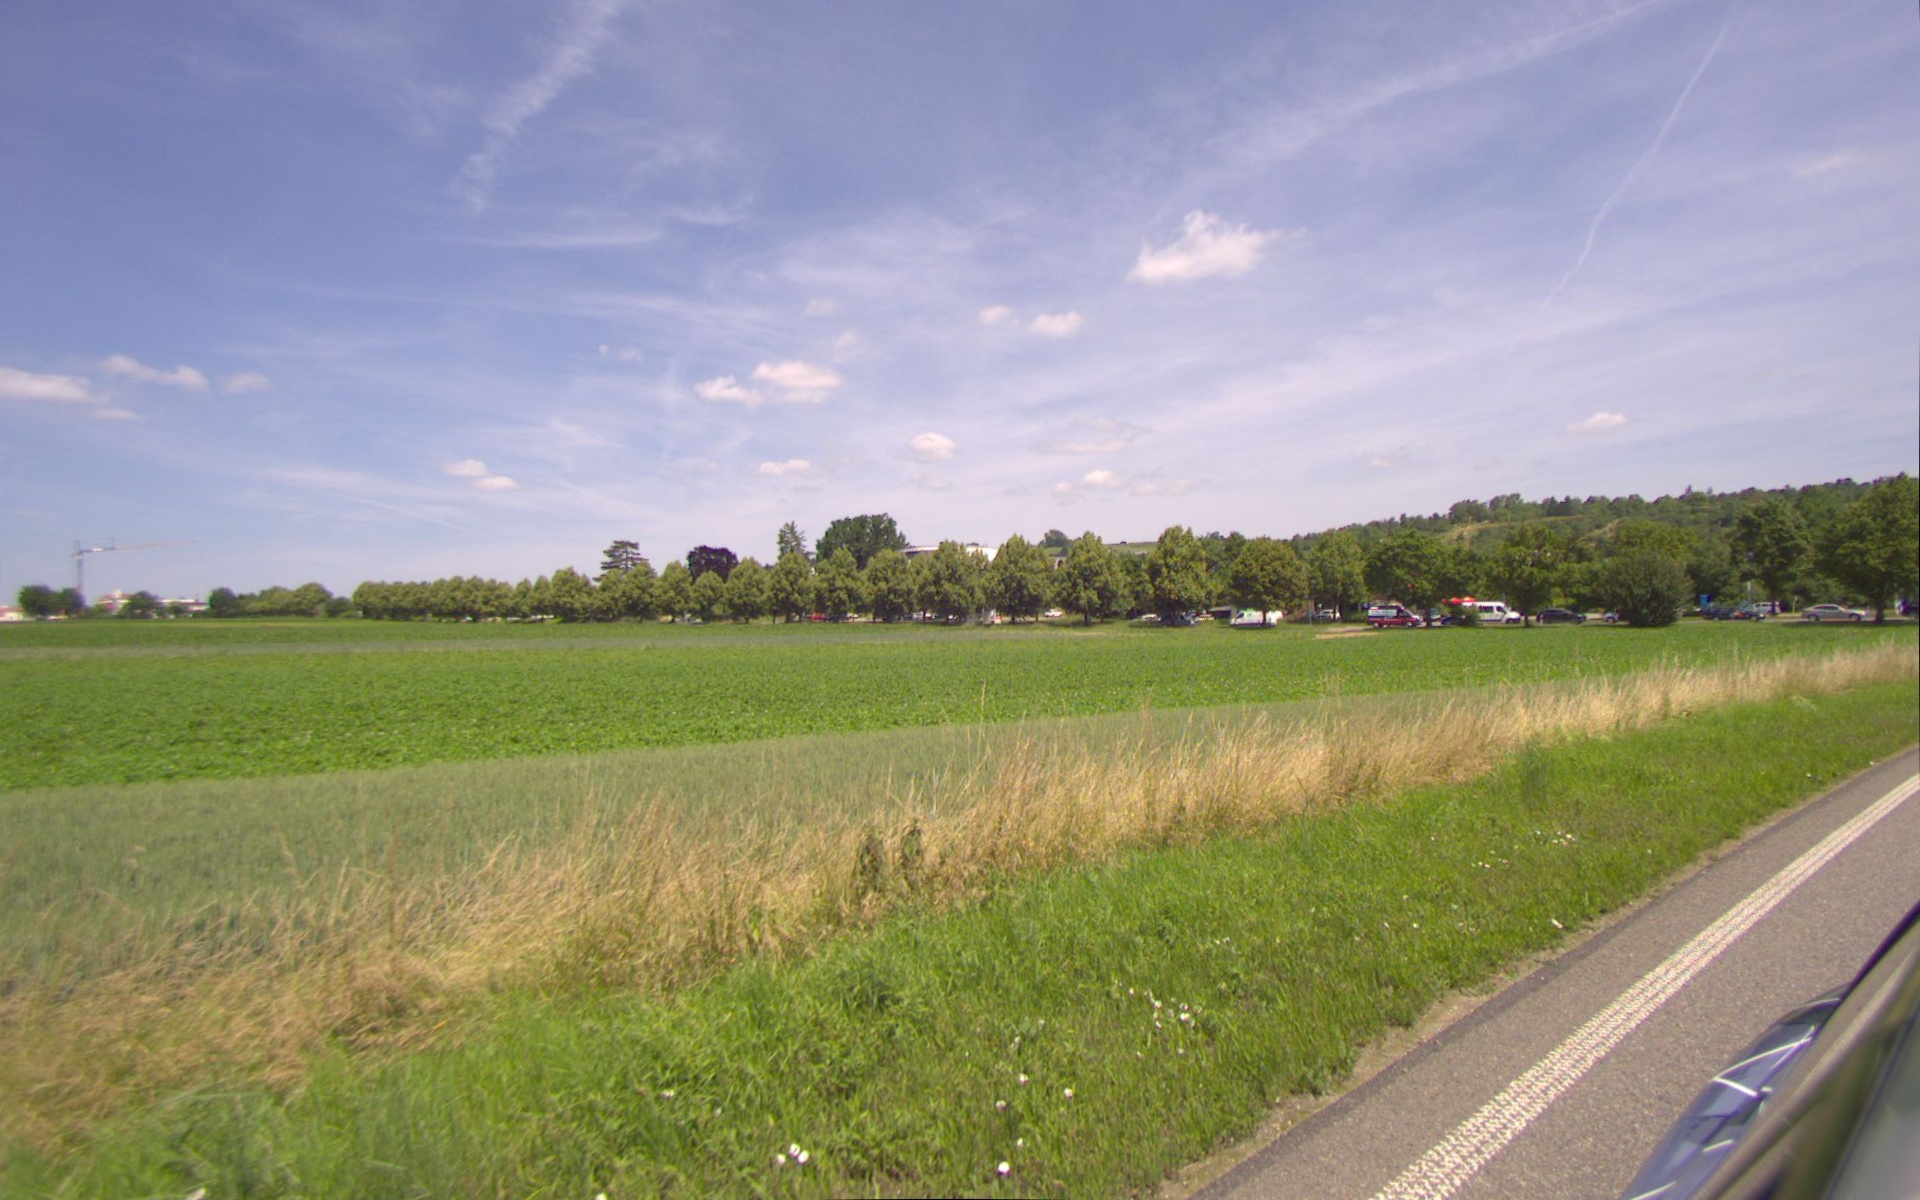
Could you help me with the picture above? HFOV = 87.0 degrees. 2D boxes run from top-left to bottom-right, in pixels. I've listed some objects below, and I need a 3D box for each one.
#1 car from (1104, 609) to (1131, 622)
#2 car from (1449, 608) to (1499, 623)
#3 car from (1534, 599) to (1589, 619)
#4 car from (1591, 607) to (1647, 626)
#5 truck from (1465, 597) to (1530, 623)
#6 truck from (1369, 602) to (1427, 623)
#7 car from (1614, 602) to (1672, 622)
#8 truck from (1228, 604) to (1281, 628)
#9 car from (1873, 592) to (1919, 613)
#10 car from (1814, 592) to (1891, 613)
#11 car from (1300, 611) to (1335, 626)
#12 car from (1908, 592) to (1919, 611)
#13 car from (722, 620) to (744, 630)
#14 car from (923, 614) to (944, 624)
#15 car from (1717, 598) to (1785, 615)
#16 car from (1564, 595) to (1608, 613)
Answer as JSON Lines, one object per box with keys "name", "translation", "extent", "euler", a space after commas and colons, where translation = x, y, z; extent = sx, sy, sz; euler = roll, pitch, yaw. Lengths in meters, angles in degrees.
{"name": "car", "translation": [25.014, 2.505, 161.161], "extent": [1.706, 1.847, 3.988], "euler": [-2, 0, -44]}
{"name": "car", "translation": [54.624, 1.662, 107.631], "extent": [1.754, 1.579, 4.378], "euler": [1, -2, -42]}
{"name": "car", "translation": [59.435, 0.893, 100.034], "extent": [4.276, 1.719, 1.969], "euler": [-3, 0, 44]}
{"name": "car", "translation": [66.163, 1.636, 101.665], "extent": [4.506, 1.713, 1.840], "euler": [-2, 0, 41]}
{"name": "truck", "translation": [54.871, 1.043, 103.378], "extent": [5.605, 2.396, 2.026], "euler": [-3, 0, 38]}
{"name": "truck", "translation": [47.204, 1.363, 109.203], "extent": [5.445, 2.000, 1.776], "euler": [-3, -1, 38]}
{"name": "car", "translation": [66.203, 1.191, 98.177], "extent": [4.501, 1.713, 1.842], "euler": [-2, 0, 38]}
{"name": "truck", "translation": [36.457, 2.030, 125.526], "extent": [5.917, 2.771, 2.043], "euler": [-3, 1, 42]}
{"name": "car", "translation": [80.588, 0.207, 85.708], "extent": [1.833, 1.713, 4.522], "euler": [0, -1, -38]}
{"name": "car", "translation": [74.204, 0.255, 84.184], "extent": [1.770, 1.529, 4.552], "euler": [-2, 0, -41]}
{"name": "car", "translation": [47.811, 2.436, 135.276], "extent": [1.793, 1.847, 3.988], "euler": [-2, 0, -44]}
{"name": "car", "translation": [78.213, 0.069, 79.912], "extent": [1.767, 1.529, 4.560], "euler": [1, -1, -35]}
{"name": "car", "translation": [-42.889, 4.766, 191.185], "extent": [3.982, 1.670, 1.971], "euler": [-3, 0, 41]}
{"name": "car", "translation": [-4.974, 3.491, 188.943], "extent": [1.715, 1.650, 3.988], "euler": [-2, 0, -44]}
{"name": "car", "translation": [69.886, 0.570, 89.451], "extent": [4.545, 1.289, 1.773], "euler": [-3, 0, 44]}
{"name": "car", "translation": [68.875, 0.462, 111.427], "extent": [3.965, 1.847, 1.804], "euler": [-3, 0, 30]}
